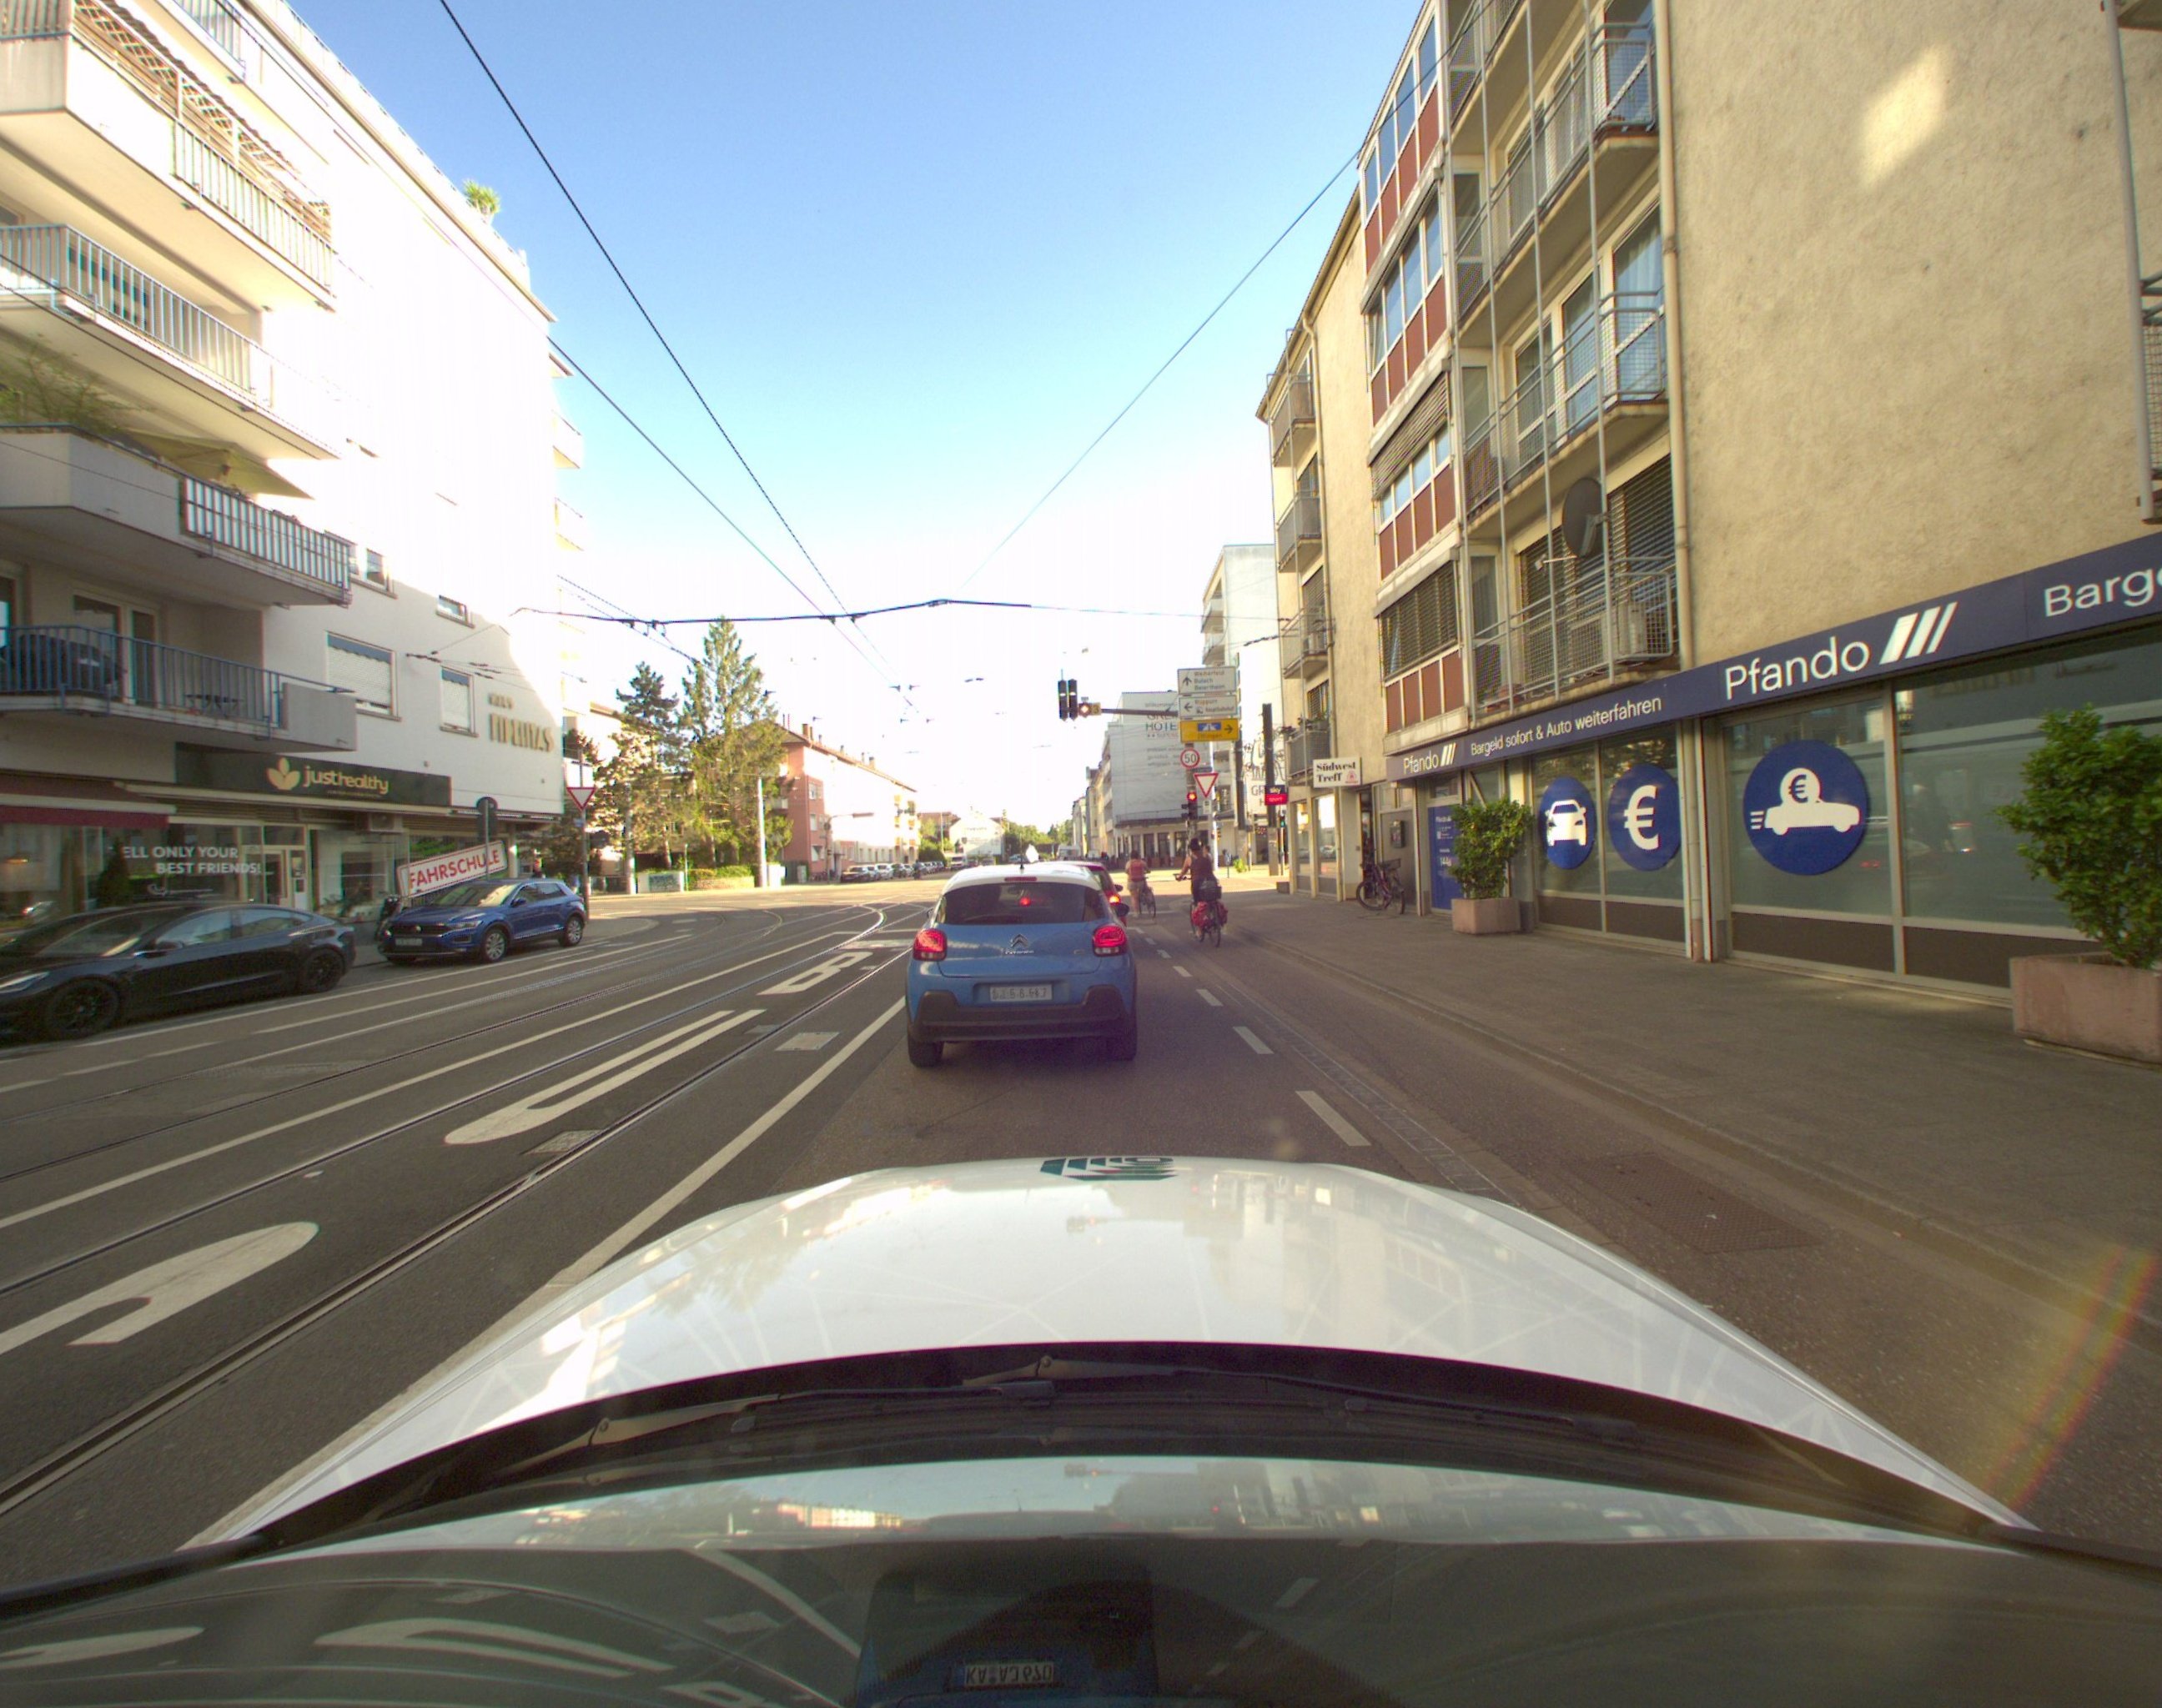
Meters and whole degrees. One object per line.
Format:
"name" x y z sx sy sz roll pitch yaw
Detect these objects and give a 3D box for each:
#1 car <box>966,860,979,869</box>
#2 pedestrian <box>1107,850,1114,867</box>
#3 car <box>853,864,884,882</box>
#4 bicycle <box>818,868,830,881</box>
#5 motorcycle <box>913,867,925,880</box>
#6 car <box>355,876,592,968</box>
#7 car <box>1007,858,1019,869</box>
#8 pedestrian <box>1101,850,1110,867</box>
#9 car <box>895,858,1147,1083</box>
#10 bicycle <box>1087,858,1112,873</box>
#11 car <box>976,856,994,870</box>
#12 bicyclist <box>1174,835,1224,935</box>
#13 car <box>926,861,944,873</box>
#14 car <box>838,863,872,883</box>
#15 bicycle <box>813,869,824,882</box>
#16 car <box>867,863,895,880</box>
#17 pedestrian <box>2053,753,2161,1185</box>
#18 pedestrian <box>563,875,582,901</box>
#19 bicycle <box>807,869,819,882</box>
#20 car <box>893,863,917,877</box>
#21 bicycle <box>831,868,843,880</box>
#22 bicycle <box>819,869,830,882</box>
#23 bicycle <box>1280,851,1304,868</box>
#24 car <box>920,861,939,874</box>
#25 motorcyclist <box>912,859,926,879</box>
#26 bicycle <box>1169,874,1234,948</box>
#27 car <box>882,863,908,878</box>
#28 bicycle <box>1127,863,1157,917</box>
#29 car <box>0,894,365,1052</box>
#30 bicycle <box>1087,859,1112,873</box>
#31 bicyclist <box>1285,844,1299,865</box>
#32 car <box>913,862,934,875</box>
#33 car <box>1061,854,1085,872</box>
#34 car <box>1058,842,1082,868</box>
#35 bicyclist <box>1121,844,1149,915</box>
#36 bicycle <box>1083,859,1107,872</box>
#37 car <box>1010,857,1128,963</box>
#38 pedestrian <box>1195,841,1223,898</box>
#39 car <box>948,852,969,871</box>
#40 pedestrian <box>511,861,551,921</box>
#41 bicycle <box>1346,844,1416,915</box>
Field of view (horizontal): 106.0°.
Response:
"car" -19.340 1.818 145.247 1.947 1.519 3.995 -2 0 -4
"pedestrian" 2.523 0.381 70.121 0.467 1.420 0.524 -2 0 -11
"car" -19.571 1.718 75.246 1.947 1.519 4.040 -2 0 -4
"bicycle" -23.050 1.842 73.109 0.536 1.082 1.908 -2 0 -4
"motorcycle" -13.484 1.597 67.764 0.751 0.976 2.092 -2 0 -7
"car" -11.877 1.243 16.329 1.720 1.505 4.113 0 0 -2
"car" -14.269 1.982 171.414 2.333 2.039 5.044 -2 0 -4
"pedestrian" 2.103 0.397 70.383 0.520 1.420 0.550 -3 0 22
"car" -0.451 0.790 7.503 1.675 1.462 3.997 -1 0 -2
"bicycle" 1.516 0.931 65.939 1.901 1.064 0.641 -2 0 -6
"car" -12.157 1.112 102.925 2.002 1.627 5.044 -2 0 -5
"bicyclist" 1.999 0.518 13.851 0.616 1.630 0.758 -2 0 -6
"car" -20.727 1.853 115.687 1.947 1.519 3.995 -2 0 -4
"car" -19.291 1.600 69.623 1.947 1.519 3.995 -2 0 -4
"bicycle" -21.974 1.794 68.190 0.537 1.082 1.905 -2 0 -9
"car" -19.560 1.684 79.858 1.947 1.519 3.995 -2 0 -4
"pedestrian" 4.321 0.394 2.786 0.871 1.571 0.868 -4 0 -1
"pedestrian" -34.748 2.346 55.623 0.805 1.702 0.681 -2 0 1
"bicycle" -22.380 1.793 68.081 0.640 1.082 1.905 -2 0 -9
"car" -19.982 1.790 92.599 1.947 1.519 3.995 -2 0 -4
"bicycle" -22.717 1.860 75.806 0.608 1.082 1.908 -2 0 -4
"bicycle" -21.596 1.793 68.475 0.537 1.082 1.905 -2 0 -9
"bicycle" 14.674 0.371 56.596 1.474 1.091 0.609 -3 0 39
"car" -20.299 1.773 109.331 1.947 1.519 3.995 -2 0 -4
"motorcyclist" -13.474 1.270 67.697 0.990 1.631 0.737 -2 0 -7
"bicycle" 2.014 0.925 13.869 0.616 1.103 1.882 -2 0 -6
"car" -19.730 1.740 86.531 1.947 1.519 3.995 -2 0 -4
"bicycle" 1.534 0.887 20.730 0.611 1.264 1.911 -2 0 2
"car" -11.982 1.330 10.426 1.720 1.403 4.486 0 0 -2
"bicycle" 1.525 0.962 67.245 1.901 1.064 0.641 -2 0 -6
"bicyclist" 14.670 0.036 56.600 0.720 1.434 0.609 -3 0 39
"car" -20.099 1.801 104.042 1.947 1.519 3.995 -2 0 -4
"car" -0.716 0.743 67.990 1.783 1.359 3.909 -2 0 -4
"car" -1.039 0.087 73.451 2.074 2.269 5.647 -1 0 -2
"bicyclist" 1.370 0.633 20.697 0.598 1.746 1.084 -2 0 2
"bicycle" 1.160 0.954 68.448 1.901 1.064 0.641 -2 0 -6
"car" -0.225 0.810 13.712 1.675 1.462 3.997 -1 0 -2
"pedestrian" 3.840 0.454 24.419 0.747 1.635 0.742 -2 0 7
"car" -18.128 1.104 120.579 2.489 2.712 5.828 -2 0 -5
"pedestrian" -17.286 1.169 25.599 0.761 1.834 0.725 -3 0 28
"bicycle" 5.760 0.457 15.743 0.637 1.264 1.911 -2 0 2
